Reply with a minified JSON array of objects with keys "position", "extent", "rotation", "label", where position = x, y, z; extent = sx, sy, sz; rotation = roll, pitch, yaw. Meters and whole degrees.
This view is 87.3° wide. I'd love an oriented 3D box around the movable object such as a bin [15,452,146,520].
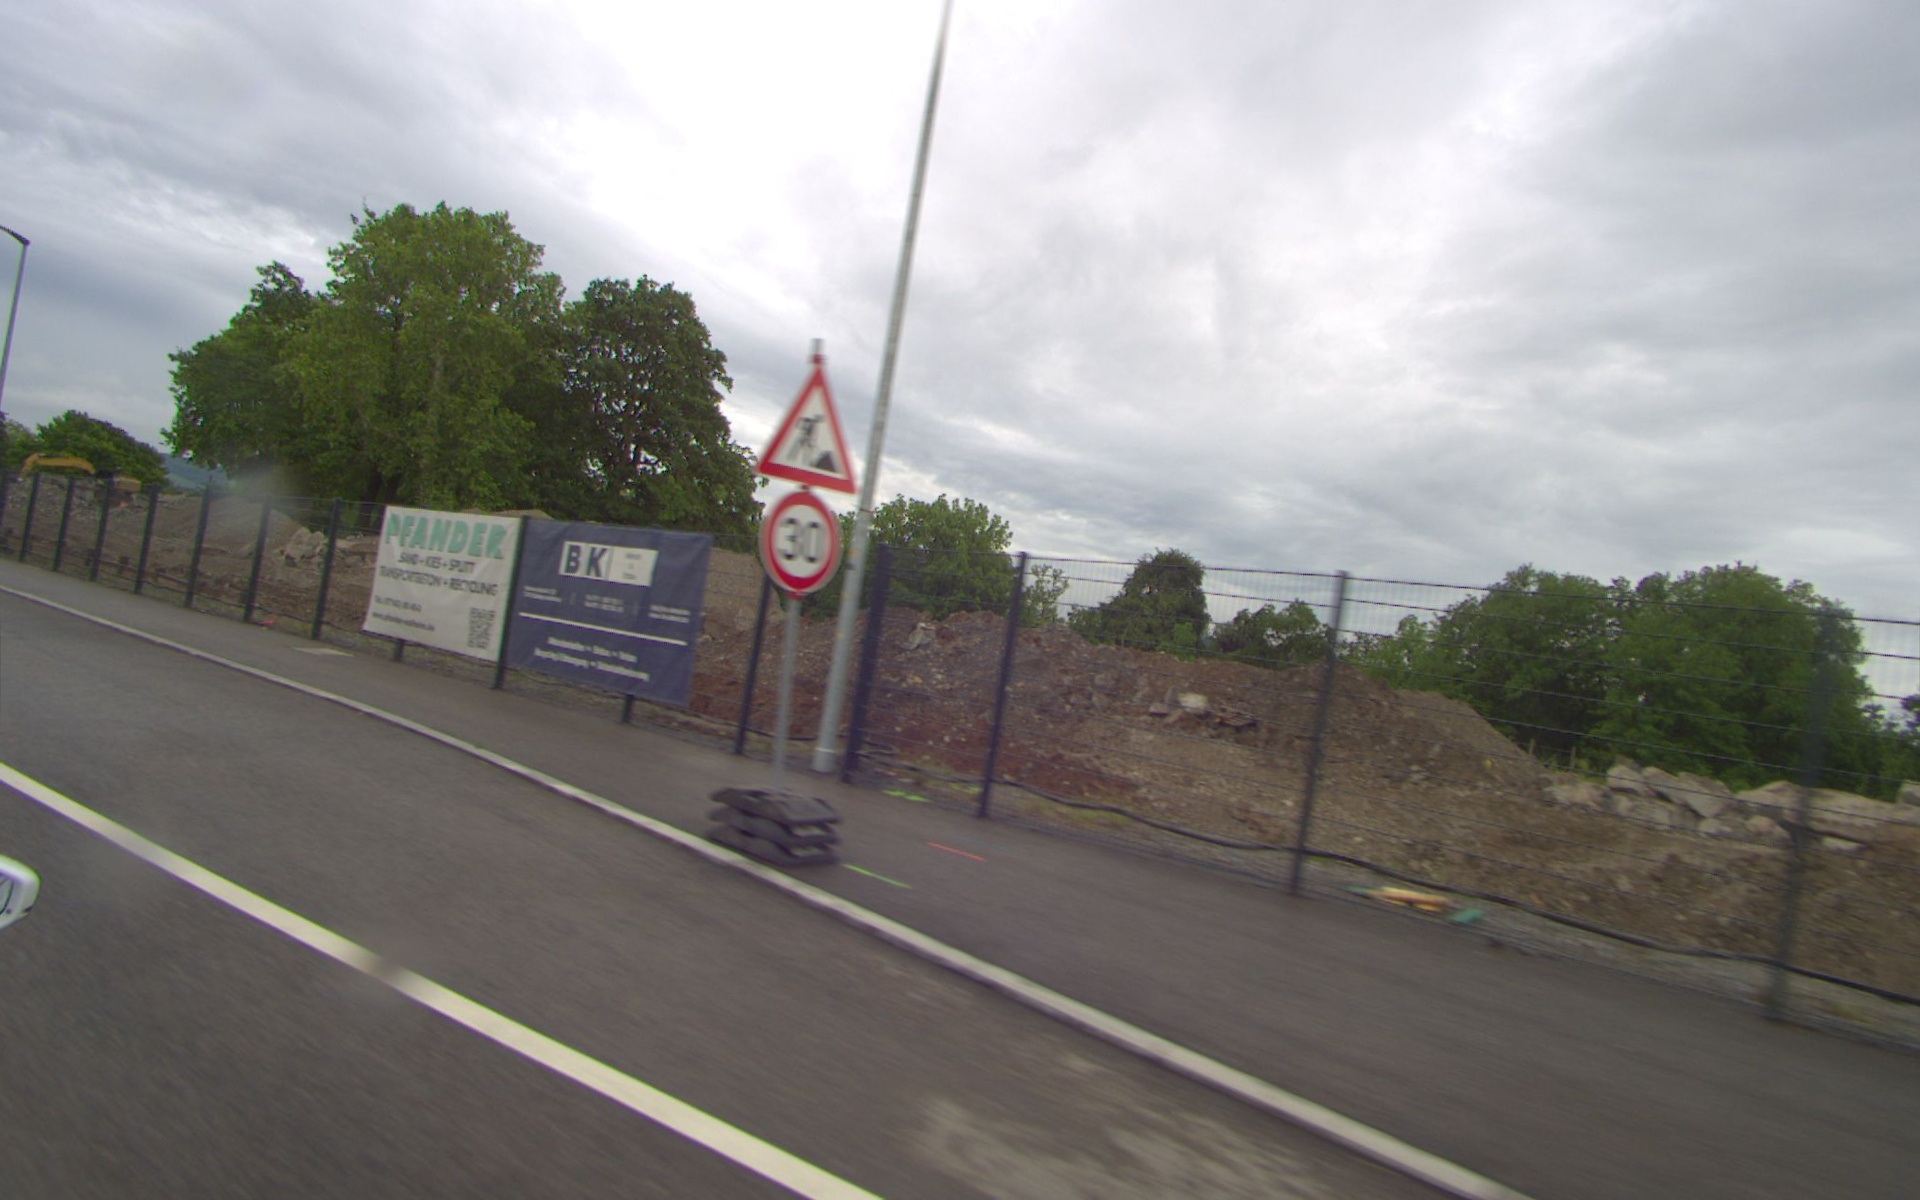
[{"position":[-107.052,-13.735,122.637],"extent":[3.442,6.064,11.224],"rotation":[6,-2,41],"label":"movable object such as a bin"}]
